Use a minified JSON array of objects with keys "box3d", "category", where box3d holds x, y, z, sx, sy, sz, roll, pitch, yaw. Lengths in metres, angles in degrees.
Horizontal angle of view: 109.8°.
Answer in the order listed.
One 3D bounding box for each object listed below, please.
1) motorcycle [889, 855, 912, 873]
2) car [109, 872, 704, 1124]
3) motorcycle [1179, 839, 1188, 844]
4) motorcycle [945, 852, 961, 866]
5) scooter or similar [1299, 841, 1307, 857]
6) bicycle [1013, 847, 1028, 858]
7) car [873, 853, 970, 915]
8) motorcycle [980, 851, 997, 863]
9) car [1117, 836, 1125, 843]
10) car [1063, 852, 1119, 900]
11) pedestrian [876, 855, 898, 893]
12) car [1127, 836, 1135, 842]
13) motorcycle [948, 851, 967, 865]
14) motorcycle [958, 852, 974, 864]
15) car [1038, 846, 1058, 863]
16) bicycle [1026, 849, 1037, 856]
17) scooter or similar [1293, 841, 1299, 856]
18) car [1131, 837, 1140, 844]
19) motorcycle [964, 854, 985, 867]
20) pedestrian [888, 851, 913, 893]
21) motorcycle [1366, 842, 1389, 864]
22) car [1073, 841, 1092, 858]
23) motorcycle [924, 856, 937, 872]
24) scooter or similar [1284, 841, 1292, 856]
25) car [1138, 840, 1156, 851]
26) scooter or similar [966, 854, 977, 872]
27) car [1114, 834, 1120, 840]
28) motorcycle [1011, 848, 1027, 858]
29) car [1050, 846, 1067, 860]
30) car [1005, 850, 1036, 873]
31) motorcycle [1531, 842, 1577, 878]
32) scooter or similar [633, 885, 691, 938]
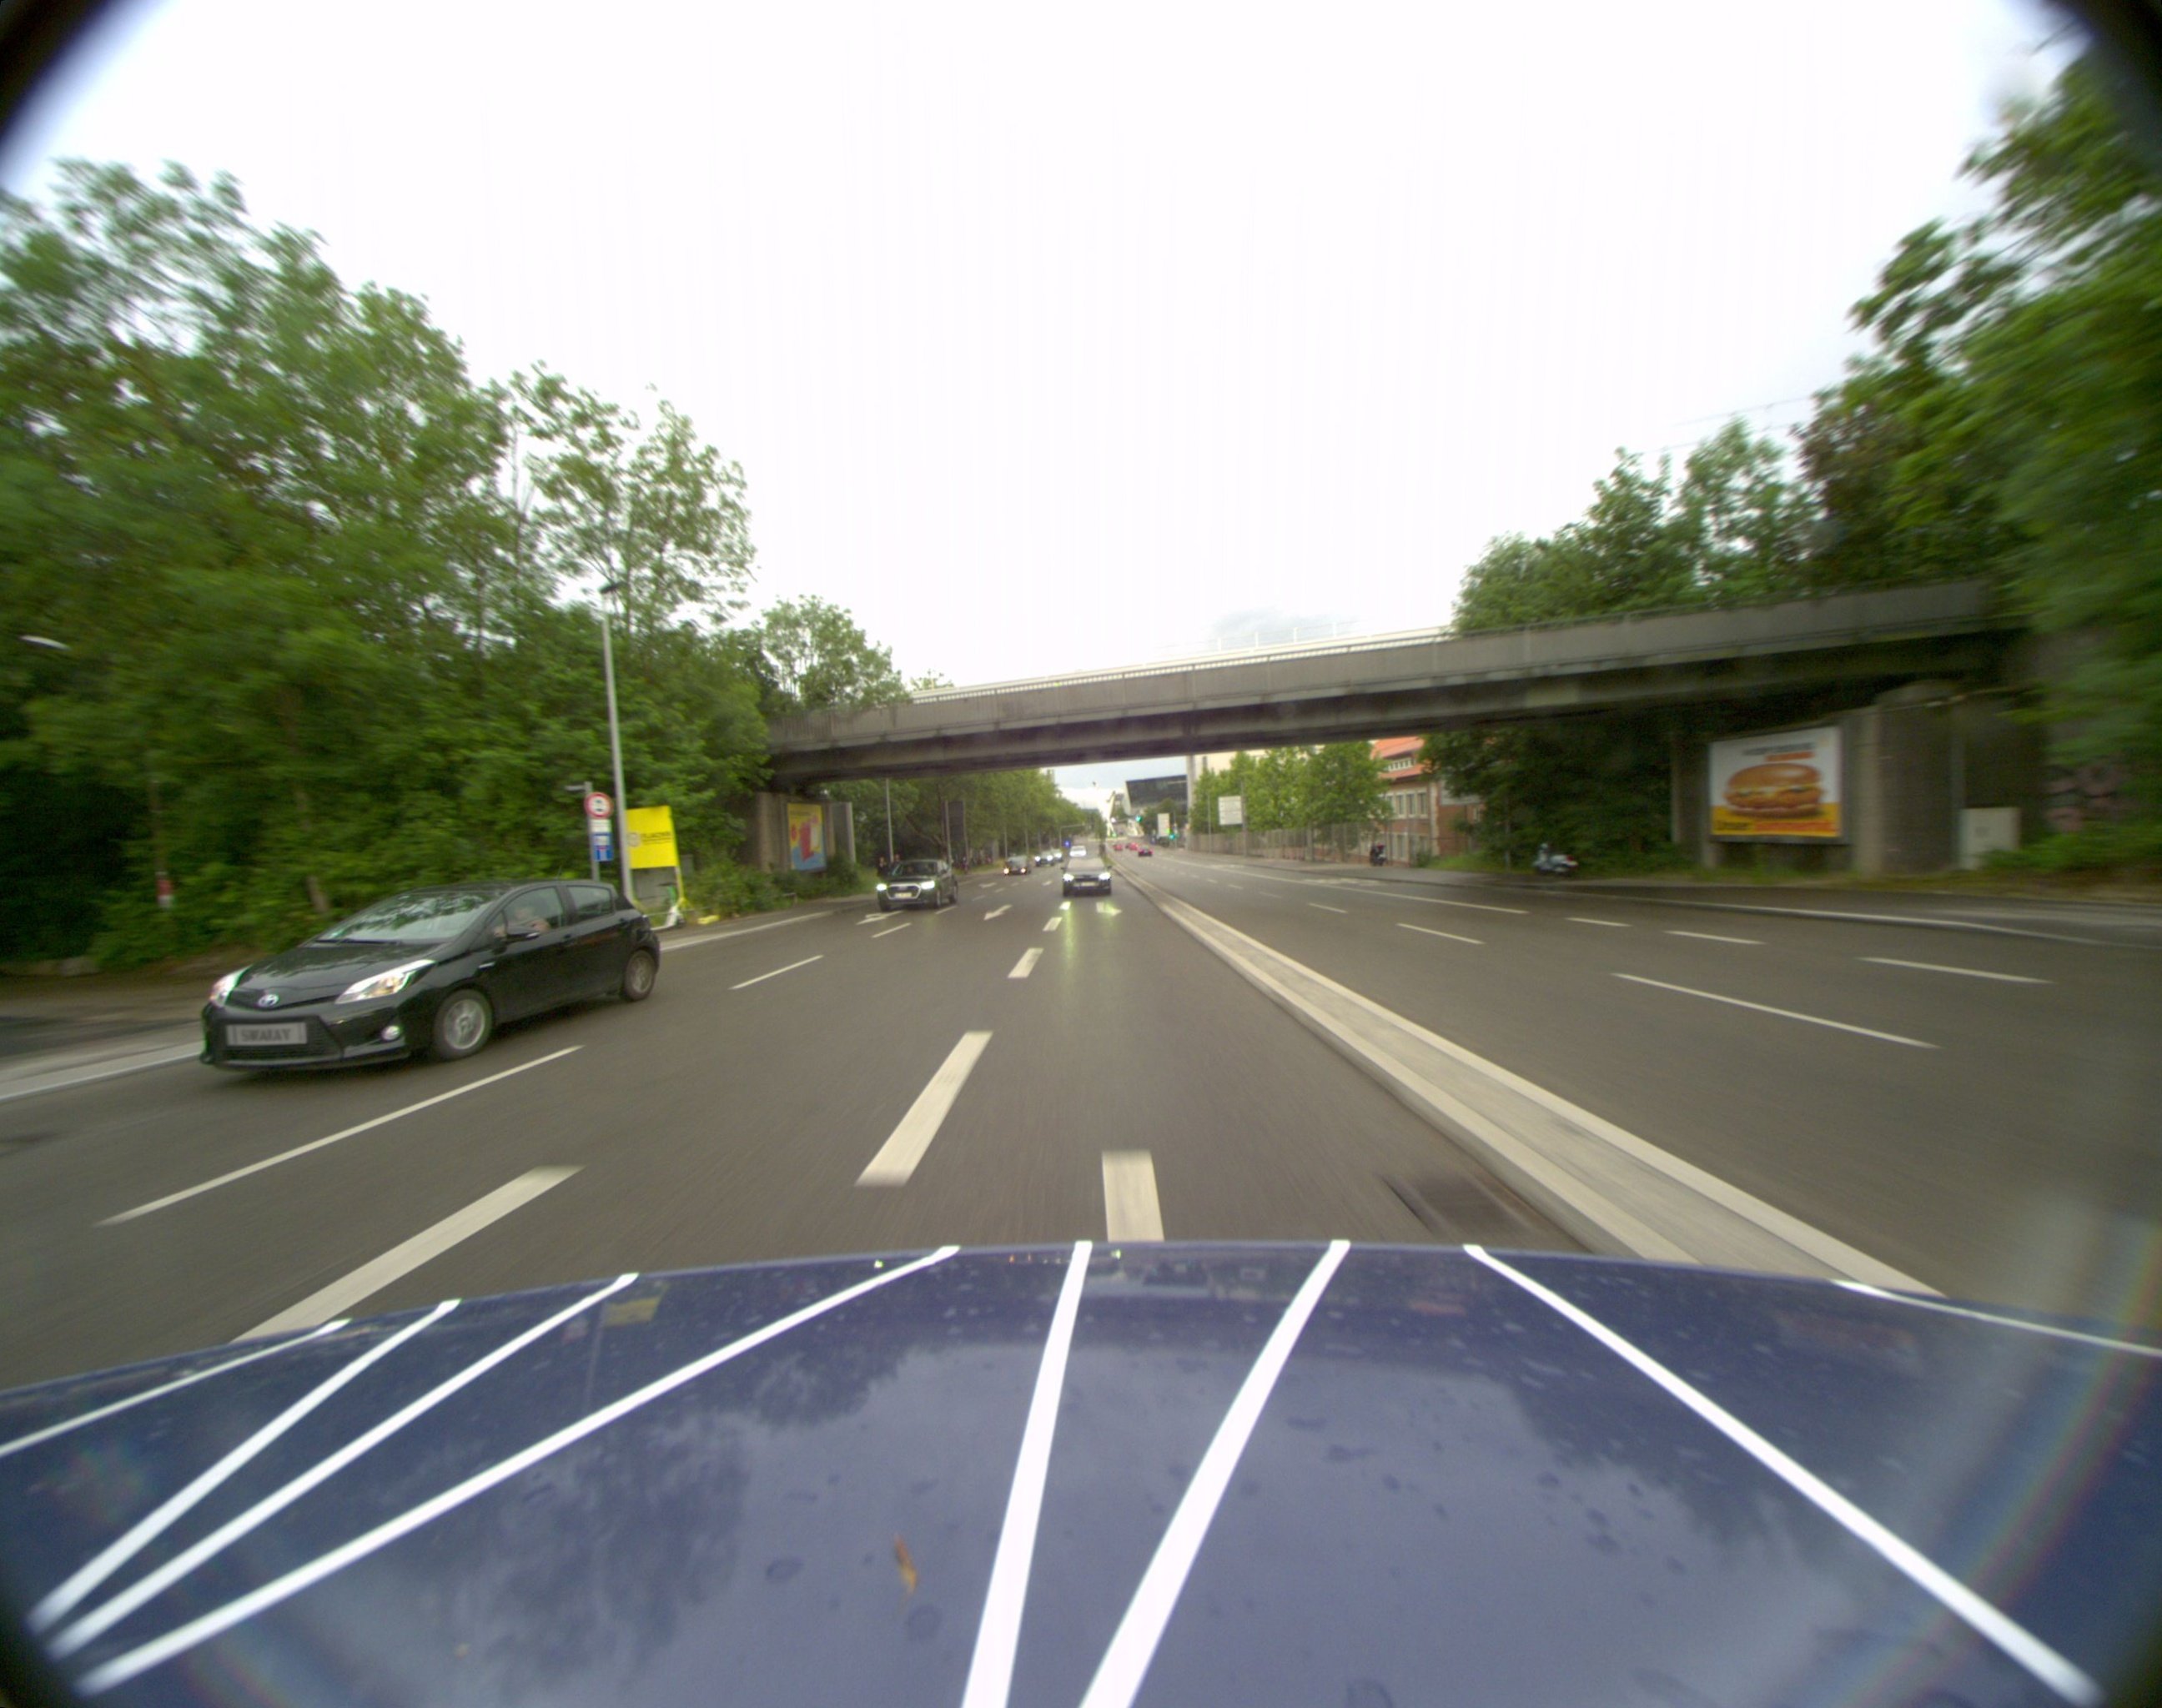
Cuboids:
[{"box3d":[-14.262,0.791,60.155,0.348,1.272,2.074,-2,1,30],"category":"motorcycle"},{"box3d":[-6.012,1.105,7.799,1.749,1.462,4.639,-4,2,2],"category":"car"},{"box3d":[21.716,-2.680,161.694,0.628,1.021,2.165,-4,2,-33],"category":"motorcycle"},{"box3d":[-13.423,0.493,79.902,1.503,1.357,0.506,-5,2,-3],"category":"motorcycle"},{"box3d":[17.056,-0.399,58.408,0.312,1.211,1.308,-2,1,7],"category":"scooter or similar"},{"box3d":[-8.312,-0.213,104.165,1.864,1.340,0.447,-3,2,-10],"category":"bicycle"},{"box3d":[-5.120,0.888,25.245,1.819,1.536,5.607,-3,2,2],"category":"car"},{"box3d":[-9.870,0.338,80.819,1.656,1.144,0.493,-4,2,10],"category":"motorcycle"},{"box3d":[8.520,-3.096,162.489,1.589,1.596,3.855,-1,2,2],"category":"car"},{"box3d":[0.402,0.724,27.431,1.819,1.536,4.064,-2,0,2],"category":"car"},{"box3d":[-8.375,0.843,32.746,0.651,1.587,0.579,-2,2,13],"category":"pedestrian"},{"box3d":[12.196,-3.767,185.197,1.777,1.396,4.614,-2,2,2],"category":"car"},{"box3d":[-13.297,0.426,81.818,1.933,1.357,0.506,-5,2,-3],"category":"motorcycle"},{"box3d":[-12.966,0.466,85.842,1.641,1.139,0.560,-4,2,13],"category":"motorcycle"},{"box3d":[-3.515,0.019,81.761,1.825,1.581,4.331,-3,2,2],"category":"car"},{"box3d":[-7.329,-0.235,112.142,1.555,0.999,0.393,-2,2,2],"category":"bicycle"},{"box3d":[17.206,-0.431,60.812,0.312,1.211,1.309,-2,1,14],"category":"scooter or similar"},{"box3d":[11.895,-2.935,164.848,1.719,1.429,3.771,-1,2,1],"category":"car"},{"box3d":[-9.895,0.591,70.831,1.855,1.184,0.521,-3,1,-13],"category":"motorcycle"},{"box3d":[-7.739,0.766,32.612,0.612,1.711,0.892,-2,2,12],"category":"pedestrian"},{"box3d":[16.566,-0.052,42.489,0.470,1.198,1.996,-2,1,2],"category":"motorcycle"},{"box3d":[0.224,-0.611,94.062,2.035,1.920,4.331,-3,2,2],"category":"car"},{"box3d":[-13.089,0.835,66.209,0.647,1.272,1.990,-3,2,1],"category":"motorcycle"},{"box3d":[17.231,-0.470,63.327,0.312,1.211,1.307,-2,1,2],"category":"scooter or similar"},{"box3d":[9.565,-1.246,110.434,2.069,1.354,4.756,-2,1,0],"category":"car"},{"box3d":[-8.325,0.693,57.733,0.312,1.291,1.308,-2,2,13],"category":"scooter or similar"},{"box3d":[10.491,-4.889,220.897,1.775,1.581,4.484,-2,2,4],"category":"car"},{"box3d":[-8.186,-0.080,100.397,2.011,1.266,0.442,-2,2,14],"category":"motorcycle"},{"box3d":[-2.783,-0.108,96.055,1.819,1.571,4.331,-3,2,2],"category":"car"},{"box3d":[-4.573,0.542,57.915,1.749,1.422,4.516,-4,2,2],"category":"car"},{"box3d":[15.966,0.188,25.700,0.469,1.152,1.932,-2,1,5],"category":"motorcycle"},{"box3d":[-9.868,1.340,17.938,0.256,1.123,1.281,-3,1,19],"category":"scooter or similar"}]
